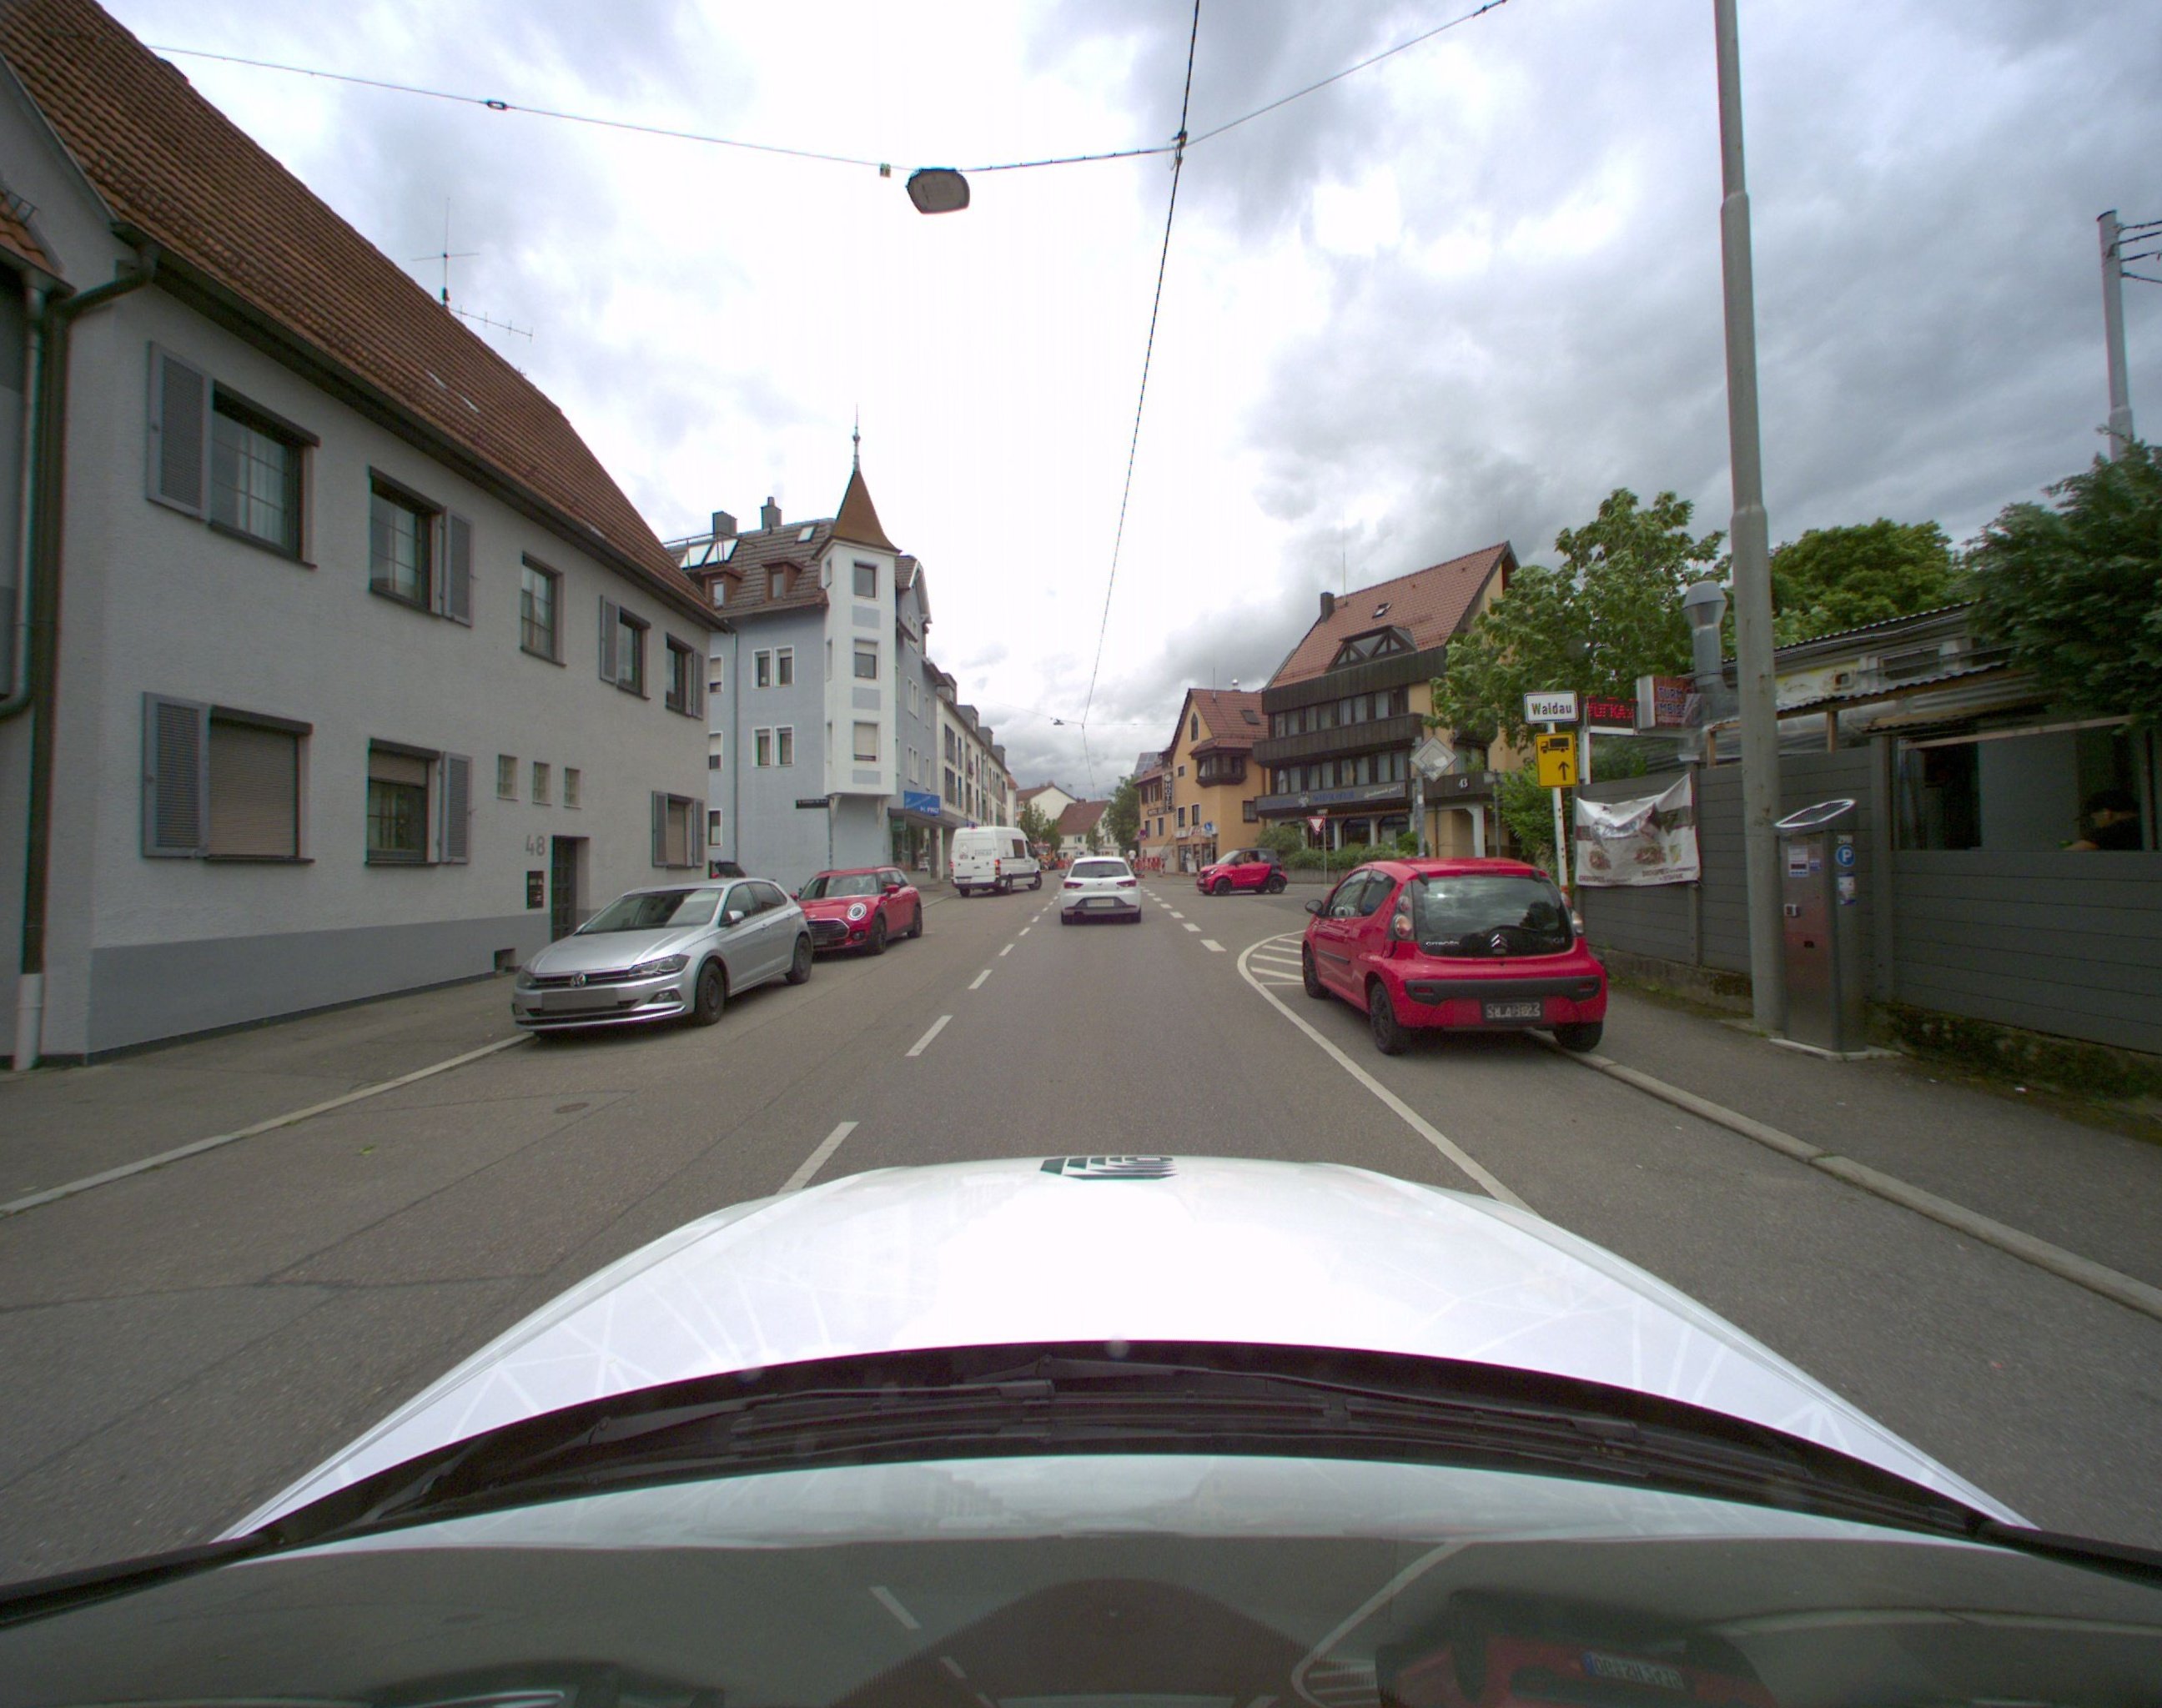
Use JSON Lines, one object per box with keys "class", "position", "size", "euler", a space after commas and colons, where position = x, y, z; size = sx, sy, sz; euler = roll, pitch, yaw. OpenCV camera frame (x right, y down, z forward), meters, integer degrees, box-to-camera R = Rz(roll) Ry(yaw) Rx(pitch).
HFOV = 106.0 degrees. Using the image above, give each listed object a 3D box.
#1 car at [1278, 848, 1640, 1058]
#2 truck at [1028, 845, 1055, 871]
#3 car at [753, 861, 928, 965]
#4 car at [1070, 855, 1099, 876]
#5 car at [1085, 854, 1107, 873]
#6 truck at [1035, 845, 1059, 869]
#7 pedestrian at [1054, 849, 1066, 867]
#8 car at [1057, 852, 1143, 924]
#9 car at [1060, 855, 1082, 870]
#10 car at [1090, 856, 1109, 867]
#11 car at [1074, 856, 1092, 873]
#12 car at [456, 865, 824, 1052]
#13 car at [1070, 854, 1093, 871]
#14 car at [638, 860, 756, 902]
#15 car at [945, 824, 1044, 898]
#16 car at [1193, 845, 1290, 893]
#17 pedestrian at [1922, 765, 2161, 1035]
{"class": "car", "position": [3.151, 0.711, 7.761], "size": [1.751, 1.452, 4.003], "euler": [-1, 0, 3]}
{"class": "truck", "position": [-3.860, 0.335, 80.457], "size": [2.144, 2.459, 5.397], "euler": [0, 0, 2]}
{"class": "car", "position": [-4.134, 0.934, 14.741], "size": [1.793, 1.479, 4.051], "euler": [-4, 0, 1]}
{"class": "car", "position": [0.217, 0.846, 60.009], "size": [1.756, 1.452, 3.992], "euler": [-1, 0, -5]}
{"class": "car", "position": [1.277, 0.773, 68.221], "size": [1.755, 1.497, 3.790], "euler": [-1, 0, 1]}
{"class": "truck", "position": [-3.567, 0.270, 86.367], "size": [2.144, 2.459, 5.397], "euler": [0, 0, 2]}
{"class": "pedestrian", "position": [-2.311, 0.440, 90.907], "size": [1.223, 2.013, 1.176], "euler": [-1, 0, 1]}
{"class": "car", "position": [0.452, 0.707, 18.850], "size": [1.752, 1.452, 4.001], "euler": [-1, 0, 2]}
{"class": "car", "position": [-1.126, 0.991, 96.694], "size": [1.782, 1.701, 4.013], "euler": [-1, 0, 12]}
{"class": "car", "position": [2.657, 1.079, 115.819], "size": [1.745, 1.452, 4.018], "euler": [-2, 0, 17]}
{"class": "car", "position": [0.234, 1.141, 88.903], "size": [1.787, 1.830, 4.002], "euler": [-1, 0, 2]}
{"class": "car", "position": [-4.522, 0.945, 9.194], "size": [1.793, 1.479, 4.051], "euler": [-4, 0, 1]}
{"class": "car", "position": [0.074, 0.749, 74.425], "size": [1.751, 1.452, 4.004], "euler": [-1, 0, 3]}
{"class": "car", "position": [-14.569, 0.988, 30.907], "size": [3.852, 1.393, 1.829], "euler": [1, 1, 20]}
{"class": "car", "position": [-3.296, 0.229, 32.482], "size": [2.137, 2.687, 5.565], "euler": [0, 0, 14]}
{"class": "car", "position": [5.339, 0.472, 27.266], "size": [2.808, 1.512, 1.703], "euler": [0, 1, -10]}
{"class": "pedestrian", "position": [6.164, 0.262, 5.092], "size": [0.806, 1.500, 0.972], "euler": [0, -1, -10]}
